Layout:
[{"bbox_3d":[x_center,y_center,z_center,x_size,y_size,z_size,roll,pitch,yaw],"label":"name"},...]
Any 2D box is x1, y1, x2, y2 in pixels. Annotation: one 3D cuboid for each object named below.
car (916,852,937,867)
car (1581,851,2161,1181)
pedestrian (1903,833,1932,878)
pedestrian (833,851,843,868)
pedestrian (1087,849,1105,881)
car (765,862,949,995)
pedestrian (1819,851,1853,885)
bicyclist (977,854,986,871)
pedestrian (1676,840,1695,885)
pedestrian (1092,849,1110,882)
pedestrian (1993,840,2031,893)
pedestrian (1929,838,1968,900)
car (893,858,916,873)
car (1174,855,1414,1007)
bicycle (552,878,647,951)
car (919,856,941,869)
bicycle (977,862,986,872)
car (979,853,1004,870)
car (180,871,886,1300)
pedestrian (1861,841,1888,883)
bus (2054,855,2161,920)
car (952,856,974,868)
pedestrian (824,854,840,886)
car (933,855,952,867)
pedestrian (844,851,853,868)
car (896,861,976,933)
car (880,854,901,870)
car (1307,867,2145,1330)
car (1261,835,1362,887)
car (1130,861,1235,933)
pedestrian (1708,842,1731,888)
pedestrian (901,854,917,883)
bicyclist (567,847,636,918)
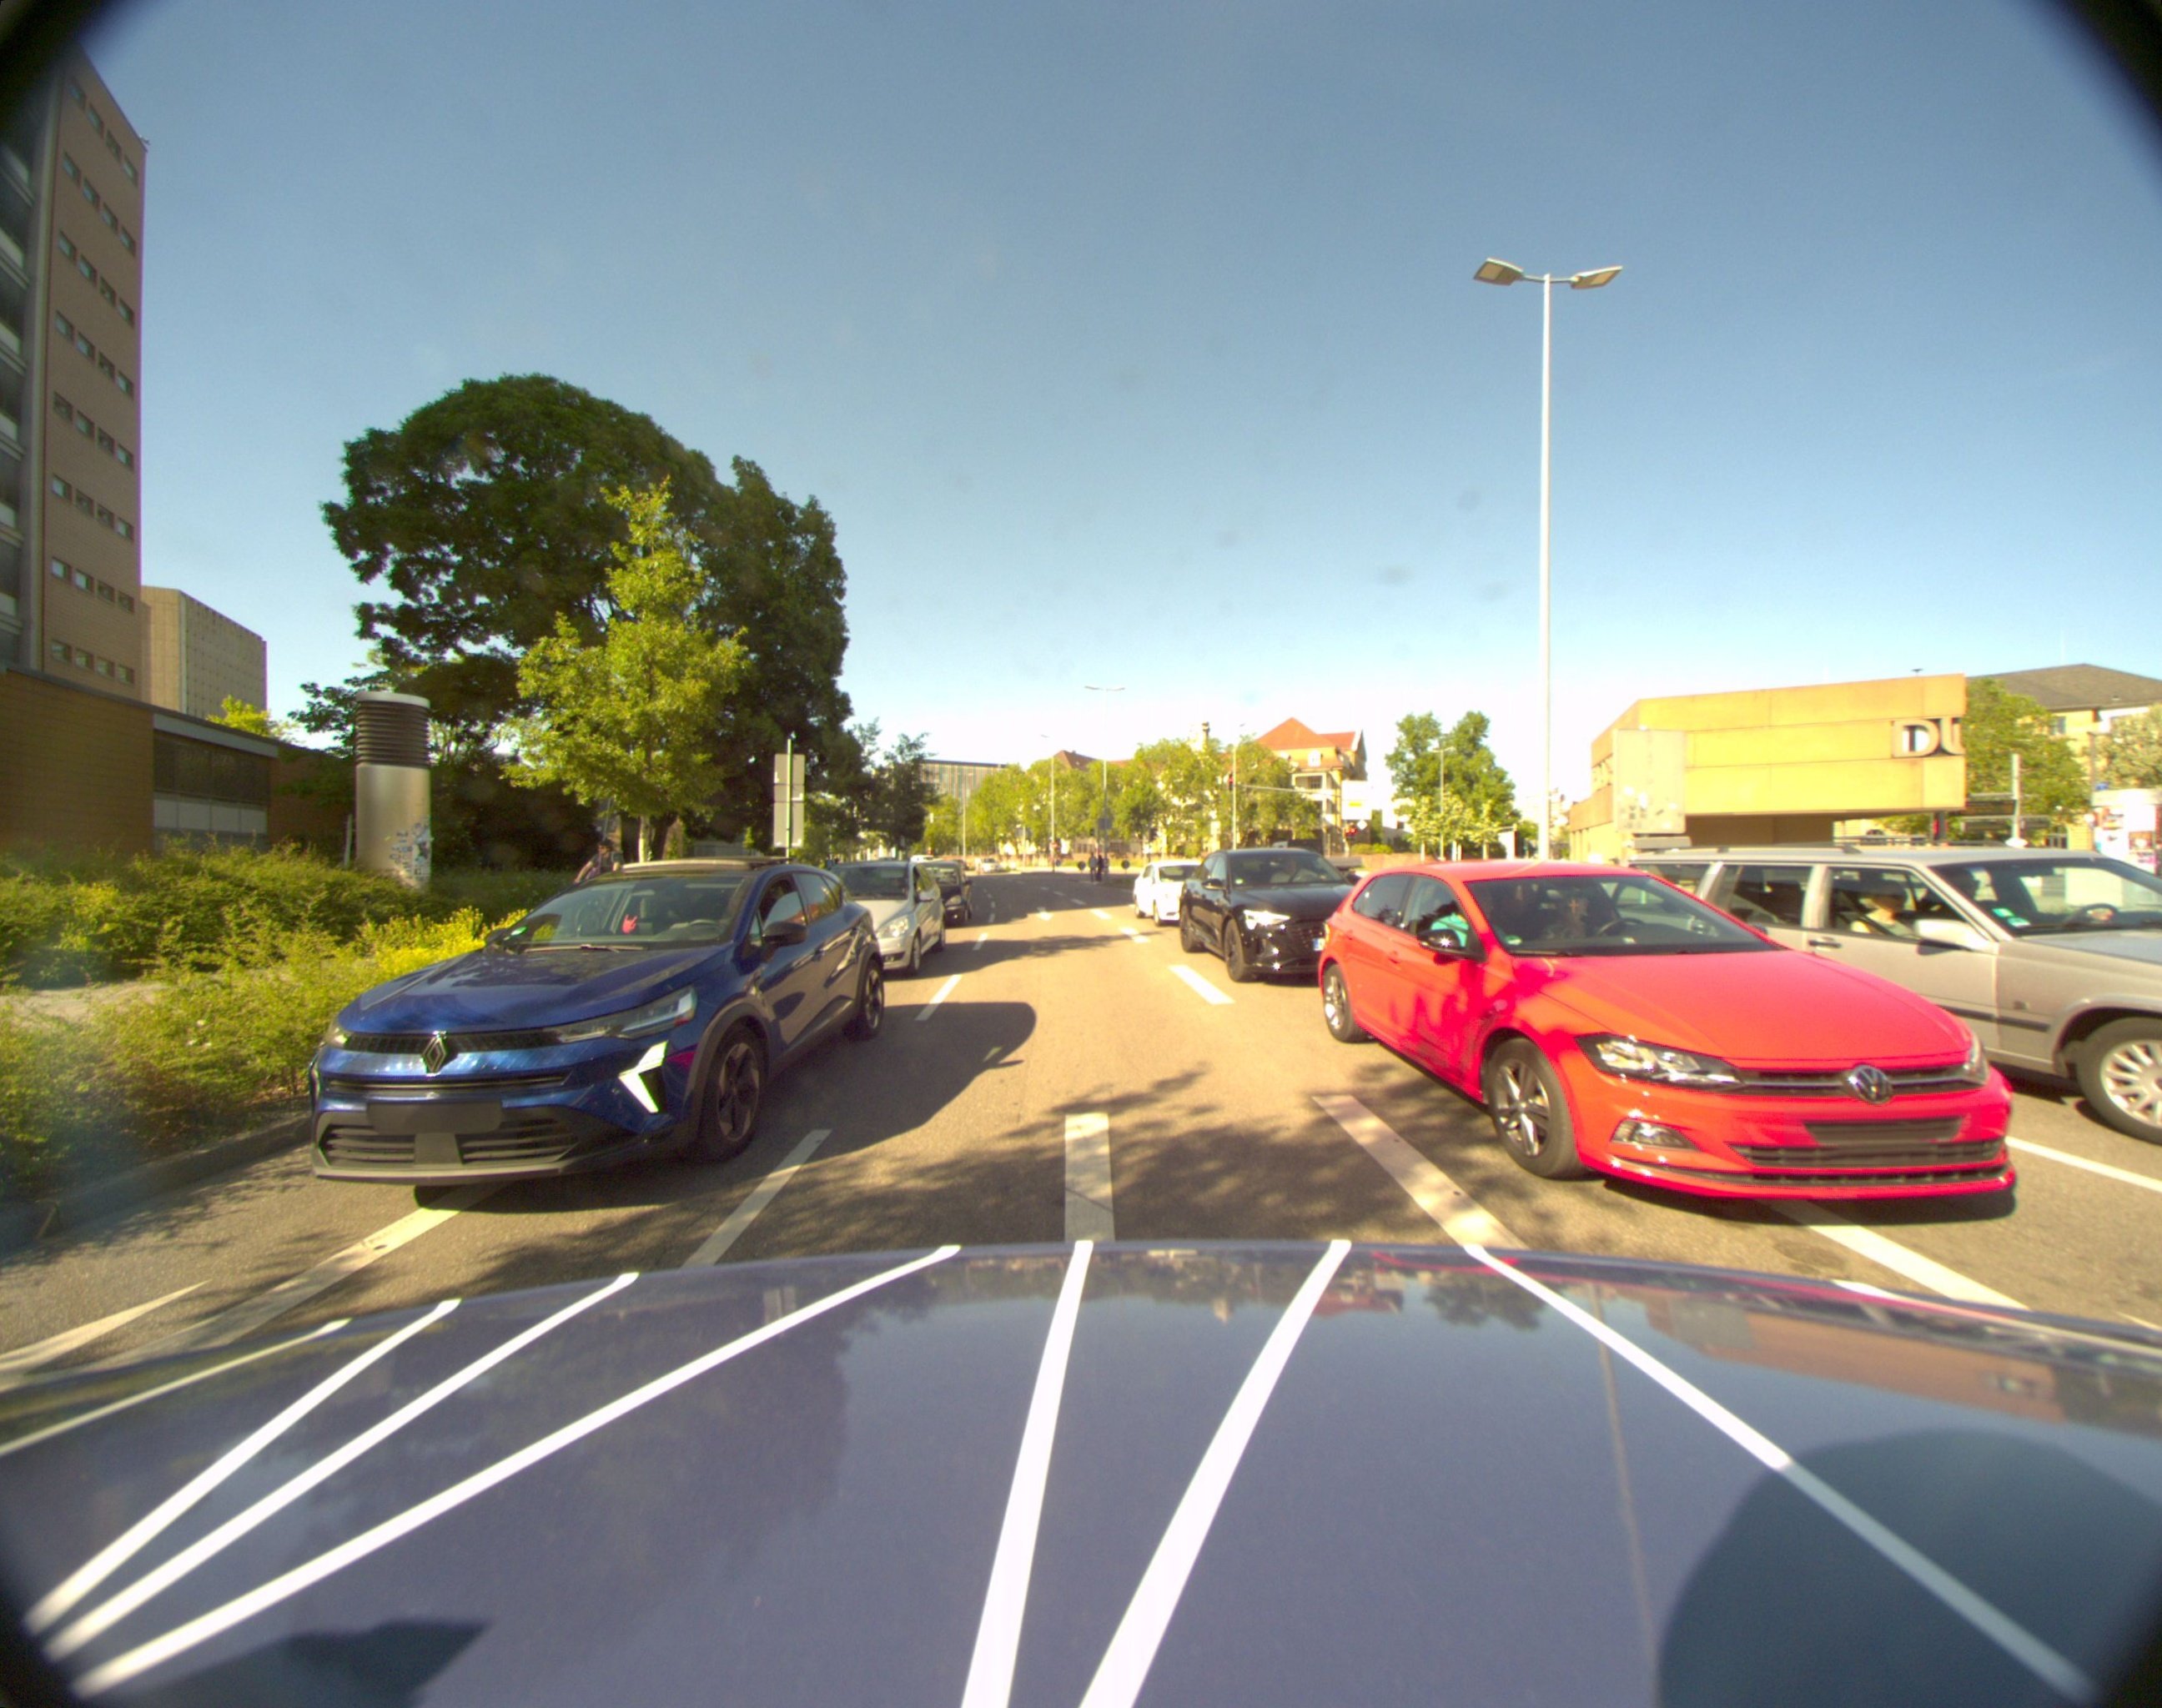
[{"bbox_3d":[-21.416,0.785,105.232,1.790,2.002,4.223,-2,1,-26],"label":"car"},{"bbox_3d":[5.792,0.765,4.963,1.713,1.464,4.752,-3,-1,-2],"label":"car"},{"bbox_3d":[32.845,0.066,29.841,0.645,1.766,0.468,-1,1,-4],"label":"pedestrian"},{"bbox_3d":[-27.955,0.683,87.326,0.823,1.906,0.770,-3,1,-29],"label":"pedestrian"},{"bbox_3d":[0.903,0.622,44.501,0.887,1.814,0.776,-2,1,-7],"label":"pedestrian"},{"bbox_3d":[-3.164,0.959,11.574,1.786,1.615,4.042,0,0,-3],"label":"car"},{"bbox_3d":[30.157,0.554,30.355,0.645,1.303,0.763,-1,0,10],"label":"pedestrian"},{"bbox_3d":[-9.308,0.793,71.111,0.695,1.549,0.815,-2,1,-15],"label":"bicyclist"},{"bbox_3d":[24.084,0.342,30.270,0.467,1.766,0.647,0,1,29],"label":"pedestrian"},{"bbox_3d":[1.146,0.638,43.215,0.757,1.814,0.775,-2,1,-18],"label":"pedestrian"},{"bbox_3d":[31.409,0.413,25.640,0.644,1.766,0.469,0,1,21],"label":"pedestrian"},{"bbox_3d":[25.384,0.432,22.239,0.647,1.778,0.666,-3,1,-35],"label":"pedestrian"},{"bbox_3d":[-18.799,1.168,80.944,1.754,1.467,3.567,-2,1,-23],"label":"car"},{"bbox_3d":[2.570,0.828,10.395,1.859,1.606,4.452,0,0,-3],"label":"car"},{"bbox_3d":[-8.973,1.091,14.254,0.692,1.211,1.834,2,0,-4],"label":"bicycle"},{"bbox_3d":[-16.753,0.978,84.107,1.754,1.370,3.568,-1,0,-21],"label":"car"},{"bbox_3d":[-9.325,1.240,71.237,0.590,0.884,1.652,-2,0,-15],"label":"bicycle"},{"bbox_3d":[-9.164,0.775,77.825,1.527,1.669,3.374,-2,0,-24],"label":"car"},{"bbox_3d":[-2.696,0.967,5.058,1.705,1.596,4.084,-1,0,0],"label":"car"},{"bbox_3d":[33.205,0.330,31.796,0.645,1.766,0.468,-1,1,-4],"label":"pedestrian"},{"bbox_3d":[21.664,0.642,14.124,1.646,1.234,4.181,-1,0,-5],"label":"bus"},{"bbox_3d":[-13.954,0.924,89.900,1.587,1.198,3.991,-2,2,-23],"label":"car"},{"bbox_3d":[-12.730,0.809,38.898,0.693,1.594,0.661,0,0,-14],"label":"pedestrian"},{"bbox_3d":[-17.891,0.892,98.244,1.598,1.596,3.066,-1,0,-26],"label":"car"},{"bbox_3d":[-26.824,0.641,87.568,0.823,1.906,0.770,-3,1,-29],"label":"pedestrian"},{"bbox_3d":[-3.544,0.989,19.074,1.651,1.601,3.488,0,0,-6],"label":"car"},{"bbox_3d":[-21.737,0.898,86.721,1.830,1.842,3.745,0,0,-21],"label":"car"},{"bbox_3d":[2.797,0.871,4.531,1.674,1.464,3.853,-2,0,-1],"label":"car"},{"bbox_3d":[11.056,0.318,37.036,2.117,2.300,6.209,-1,0,-10],"label":"car"},{"bbox_3d":[2.263,0.919,17.843,1.575,1.410,3.711,-2,0,-6],"label":"car"},{"bbox_3d":[24.599,0.422,29.262,0.644,1.766,0.618,0,1,42],"label":"pedestrian"},{"bbox_3d":[-9.523,0.813,42.026,0.694,1.594,0.660,-1,0,-29],"label":"pedestrian"},{"bbox_3d":[-8.950,0.516,14.224,0.722,1.271,0.907,2,0,-5],"label":"bicyclist"}]
